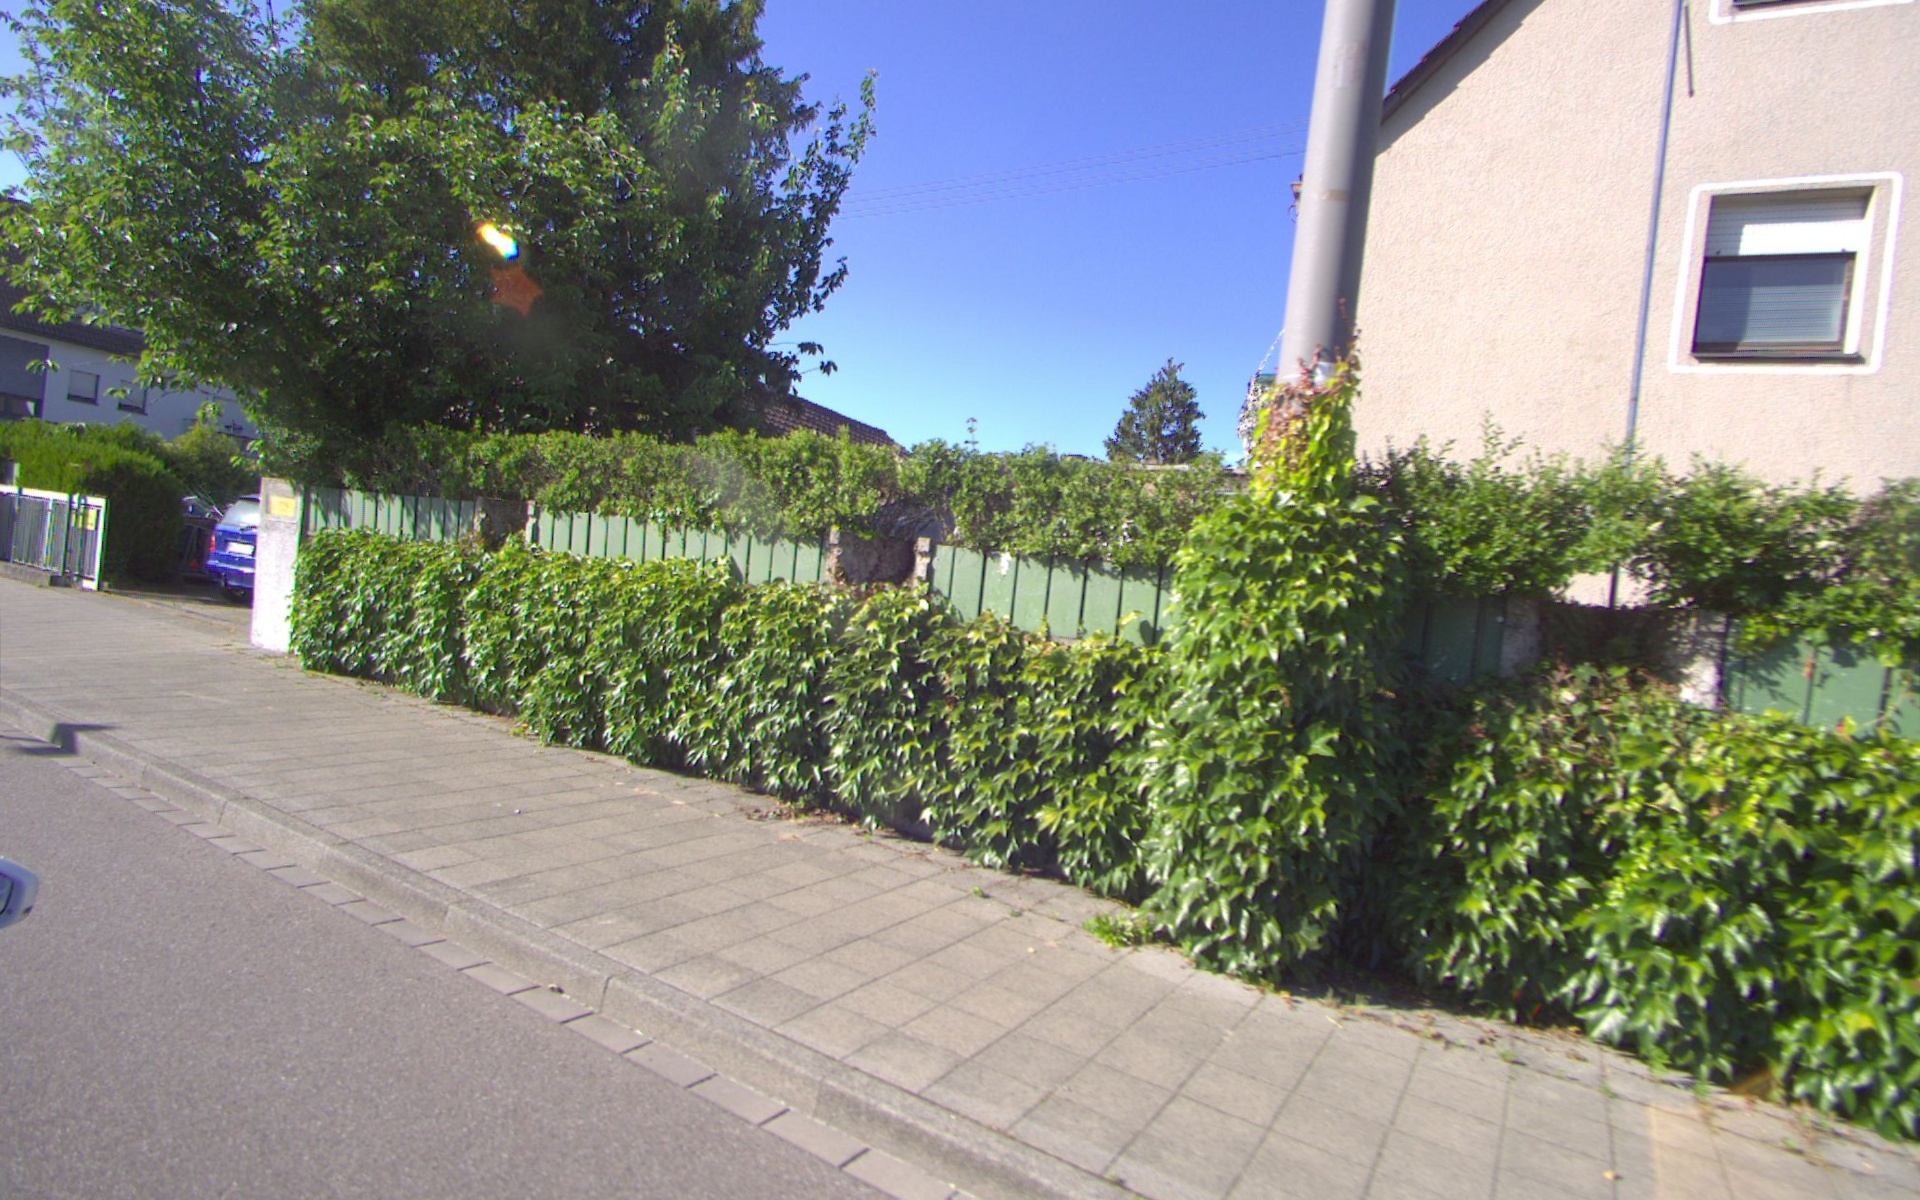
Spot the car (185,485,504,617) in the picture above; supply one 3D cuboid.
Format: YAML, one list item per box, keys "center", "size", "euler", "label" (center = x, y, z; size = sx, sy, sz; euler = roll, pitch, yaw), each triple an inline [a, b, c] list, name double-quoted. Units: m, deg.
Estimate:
- center: [-9.116, -0.649, 15.259]
  size: [1.720, 1.590, 3.769]
  euler: [7, 1, 22]
  label: "car"
